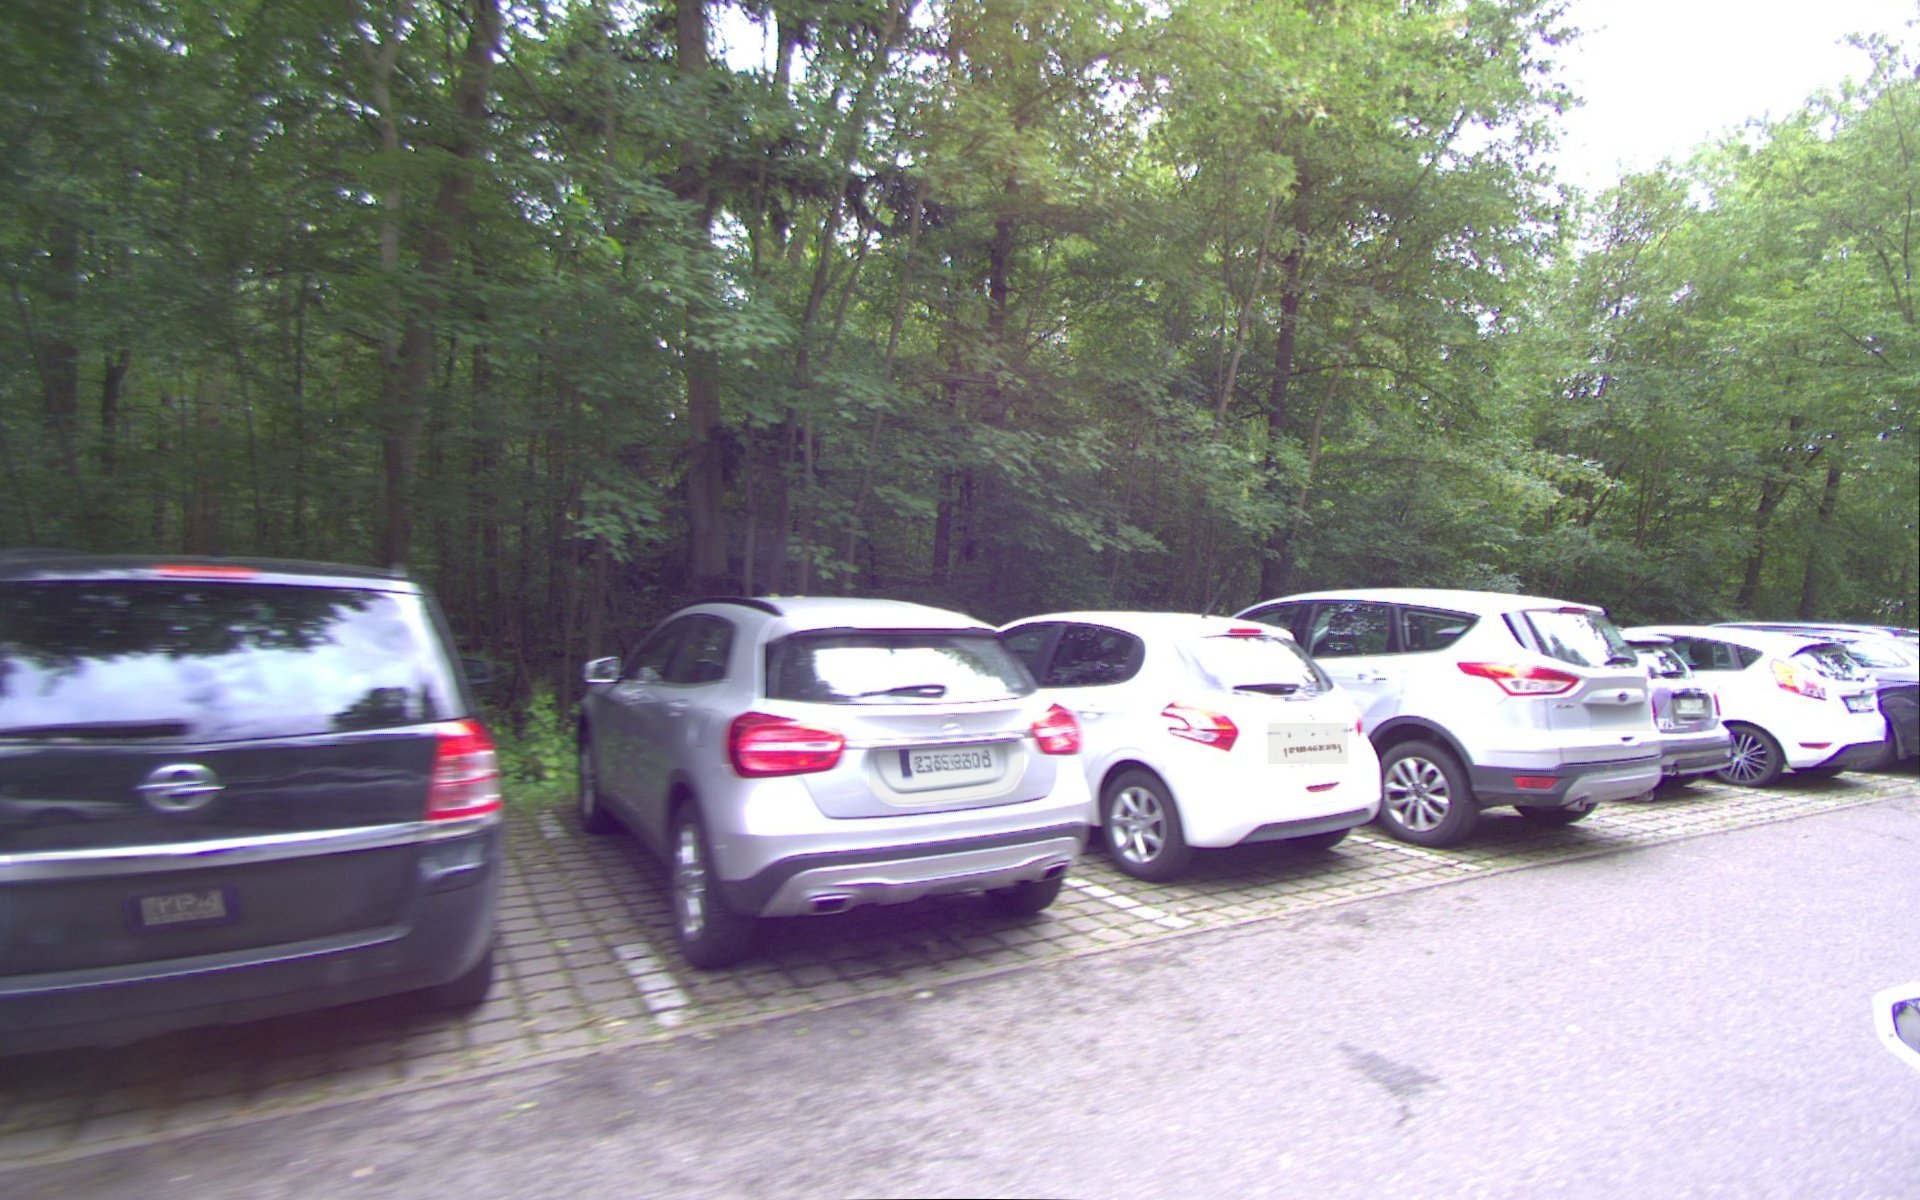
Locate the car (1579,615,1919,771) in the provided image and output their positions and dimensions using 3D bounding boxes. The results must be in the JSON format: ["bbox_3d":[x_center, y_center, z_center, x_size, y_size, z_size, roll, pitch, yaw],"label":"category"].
[{"bbox_3d":[9.687,0.967,11.672,1.656,1.454,3.971,1,1,-27],"label":"car"}]

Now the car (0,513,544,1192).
[{"bbox_3d":[-3.034,0.651,4.419,1.676,1.684,3.967,1,-1,-31],"label":"car"}]

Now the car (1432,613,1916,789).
[{"bbox_3d":[7.435,0.938,10.924,1.628,1.454,3.971,3,-1,-27],"label":"car"}]

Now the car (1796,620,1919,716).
[{"bbox_3d":[16.263,1.134,16.162,1.694,1.487,3.968,1,1,-29],"label":"car"}]

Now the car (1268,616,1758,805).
[{"bbox_3d":[5.271,0.929,10.117,1.793,1.440,3.967,2,-1,-30],"label":"car"}]

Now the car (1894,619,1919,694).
[{"bbox_3d":[20.388,1.173,18.772,1.694,1.457,3.969,1,1,-29],"label":"car"}]

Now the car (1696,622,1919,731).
[{"bbox_3d":[13.992,1.135,15.461,1.680,1.454,3.971,1,1,-27],"label":"car"}]

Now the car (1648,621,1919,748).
[{"bbox_3d":[12.010,1.082,13.750,1.656,1.454,3.971,1,1,-27],"label":"car"}]

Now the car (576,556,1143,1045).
[{"bbox_3d":[-0.934,0.726,5.658,1.792,1.684,3.970,1,-1,-28],"label":"car"}]

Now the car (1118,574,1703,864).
[{"bbox_3d":[3.230,0.710,8.014,1.793,1.684,3.967,1,-1,-30],"label":"car"}]

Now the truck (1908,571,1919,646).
[{"bbox_3d":[45.324,0.467,42.499,3.413,3.279,7.187,2,0,-40],"label":"truck"}]
